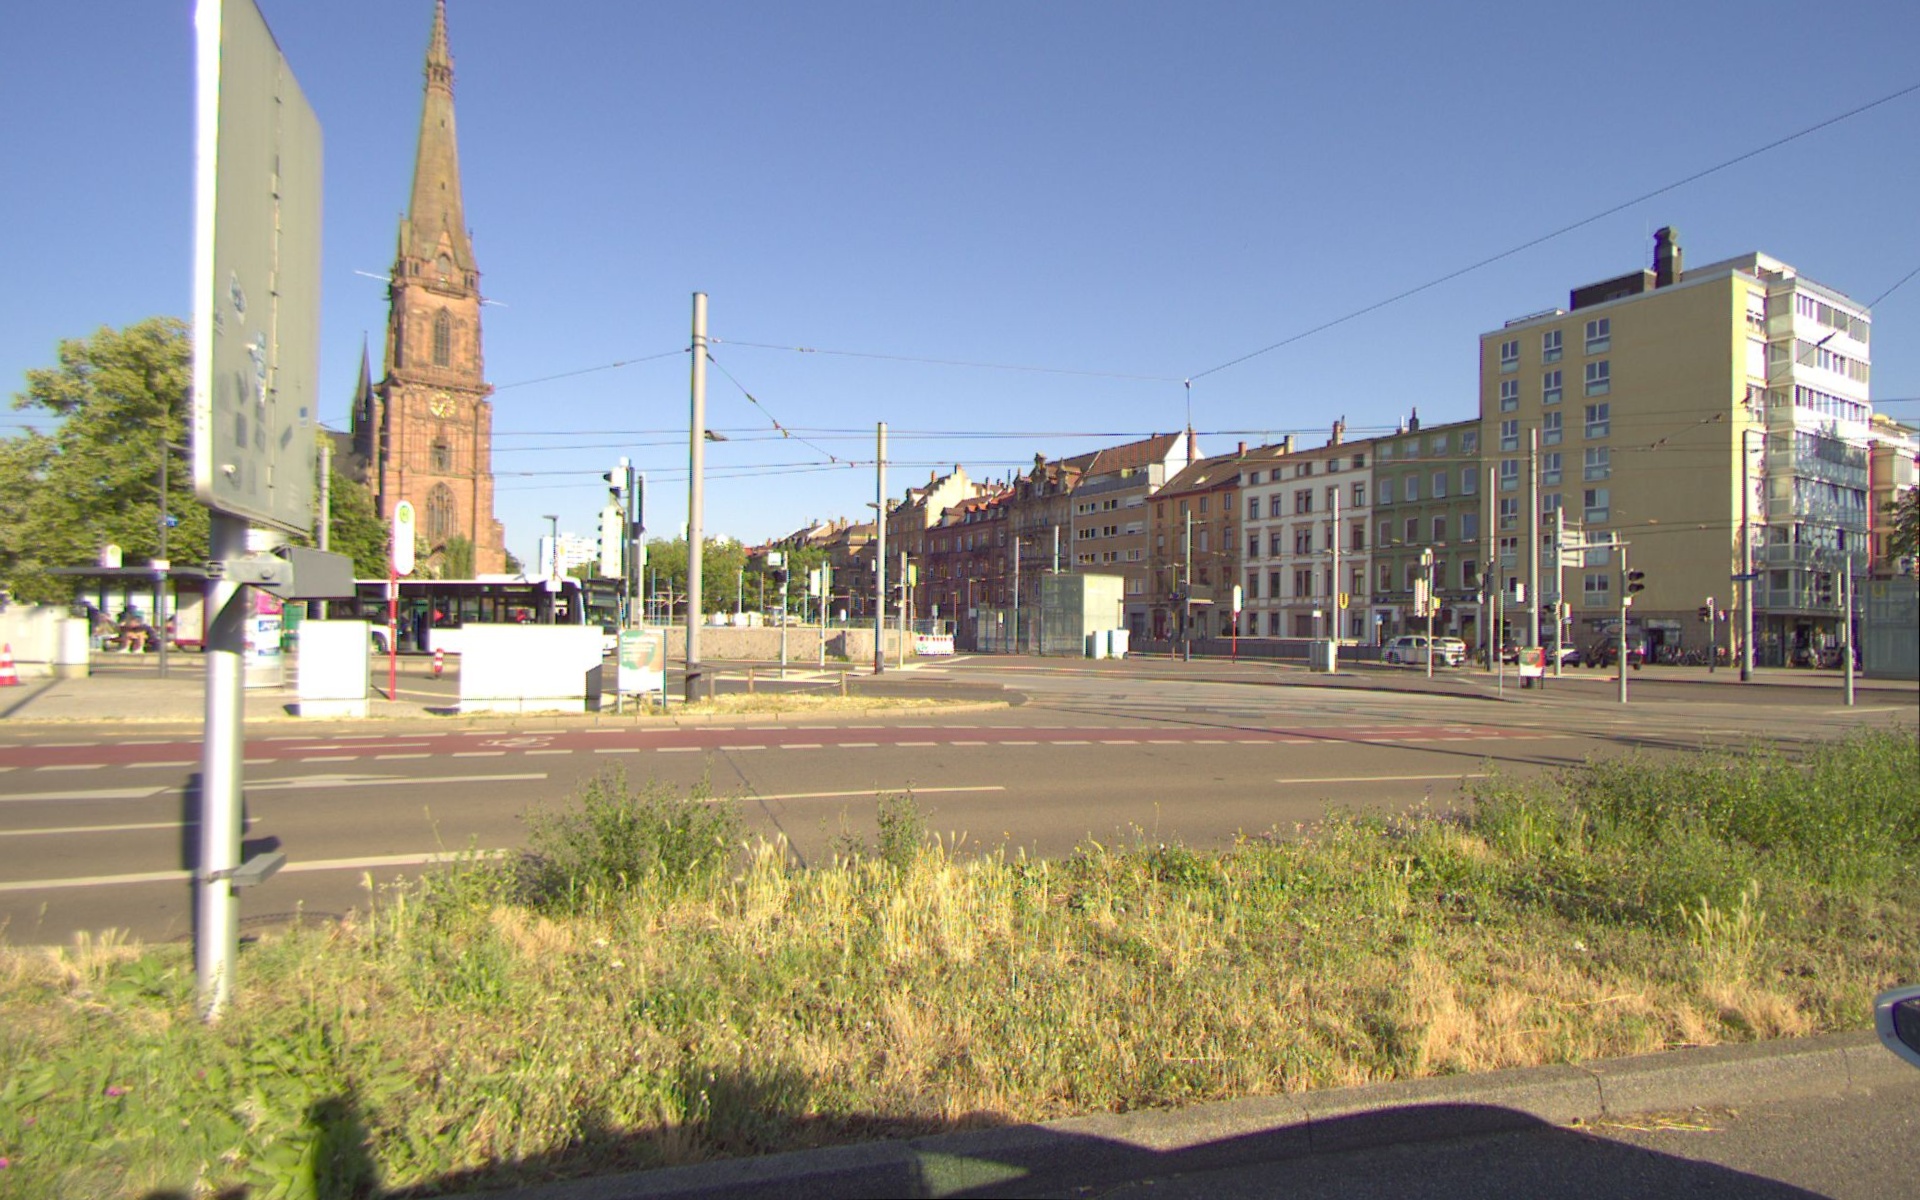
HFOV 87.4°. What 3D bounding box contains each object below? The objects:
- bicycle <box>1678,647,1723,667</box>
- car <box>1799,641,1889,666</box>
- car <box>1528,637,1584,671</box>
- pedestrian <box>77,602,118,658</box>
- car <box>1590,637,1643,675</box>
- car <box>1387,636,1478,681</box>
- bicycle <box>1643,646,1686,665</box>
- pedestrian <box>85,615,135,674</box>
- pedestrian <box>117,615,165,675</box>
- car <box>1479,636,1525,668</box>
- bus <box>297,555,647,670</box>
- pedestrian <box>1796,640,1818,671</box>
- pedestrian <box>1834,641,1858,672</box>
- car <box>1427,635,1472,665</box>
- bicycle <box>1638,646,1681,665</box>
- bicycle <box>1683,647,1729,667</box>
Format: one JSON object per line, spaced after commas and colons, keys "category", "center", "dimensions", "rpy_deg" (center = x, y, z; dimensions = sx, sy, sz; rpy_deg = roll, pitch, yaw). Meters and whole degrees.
{"category": "bicycle", "center": [43.404, 3.342, 58.888], "dimensions": [0.768, 1.104, 2.032], "rpy_deg": [2, -2, -31]}
{"category": "car", "center": [55.816, 3.354, 63.466], "dimensions": [1.795, 1.441, 3.962], "rpy_deg": [2, -2, -34]}
{"category": "car", "center": [34.429, 3.074, 58.096], "dimensions": [1.803, 1.771, 4.001], "rpy_deg": [0, 0, 16]}
{"category": "pedestrian", "center": [-31.529, 1.102, 36.725], "dimensions": [0.739, 2.007, 0.817], "rpy_deg": [0, -2, 15]}
{"category": "car", "center": [36.231, 3.035, 55.518], "dimensions": [1.817, 1.882, 3.997], "rpy_deg": [0, 0, 23]}
{"category": "car", "center": [23.858, 2.929, 50.857], "dimensions": [1.977, 2.040, 3.715], "rpy_deg": [0, 0, -31]}
{"category": "bicycle", "center": [42.969, 3.360, 61.280], "dimensions": [0.768, 1.104, 2.032], "rpy_deg": [2, -2, -31]}
{"category": "pedestrian", "center": [-29.503, 1.551, 34.885], "dimensions": [0.812, 2.007, 0.997], "rpy_deg": [0, -2, 15]}
{"category": "pedestrian", "center": [-27.902, 1.534, 34.220], "dimensions": [0.704, 2.007, 0.981], "rpy_deg": [0, -2, 15]}
{"category": "car", "center": [32.796, 3.118, 60.877], "dimensions": [1.803, 1.742, 4.000], "rpy_deg": [0, 0, 18]}
{"category": "bus", "center": [-17.847, 0.472, 36.825], "dimensions": [11.941, 3.359, 3.254], "rpy_deg": [3, -4, 14]}
{"category": "pedestrian", "center": [48.173, 3.148, 57.137], "dimensions": [0.773, 1.698, 0.772], "rpy_deg": [2, -2, -29]}
{"category": "pedestrian", "center": [48.913, 3.127, 55.455], "dimensions": [0.773, 1.698, 0.772], "rpy_deg": [2, -2, -29]}
{"category": "car", "center": [31.171, 3.151, 64.034], "dimensions": [2.045, 1.742, 4.010], "rpy_deg": [0, 0, 18]}
{"category": "bicycle", "center": [42.283, 3.362, 60.748], "dimensions": [0.768, 1.104, 2.032], "rpy_deg": [2, -2, -31]}
{"category": "bicycle", "center": [44.090, 3.339, 59.377], "dimensions": [0.768, 1.104, 2.032], "rpy_deg": [2, -2, -31]}
